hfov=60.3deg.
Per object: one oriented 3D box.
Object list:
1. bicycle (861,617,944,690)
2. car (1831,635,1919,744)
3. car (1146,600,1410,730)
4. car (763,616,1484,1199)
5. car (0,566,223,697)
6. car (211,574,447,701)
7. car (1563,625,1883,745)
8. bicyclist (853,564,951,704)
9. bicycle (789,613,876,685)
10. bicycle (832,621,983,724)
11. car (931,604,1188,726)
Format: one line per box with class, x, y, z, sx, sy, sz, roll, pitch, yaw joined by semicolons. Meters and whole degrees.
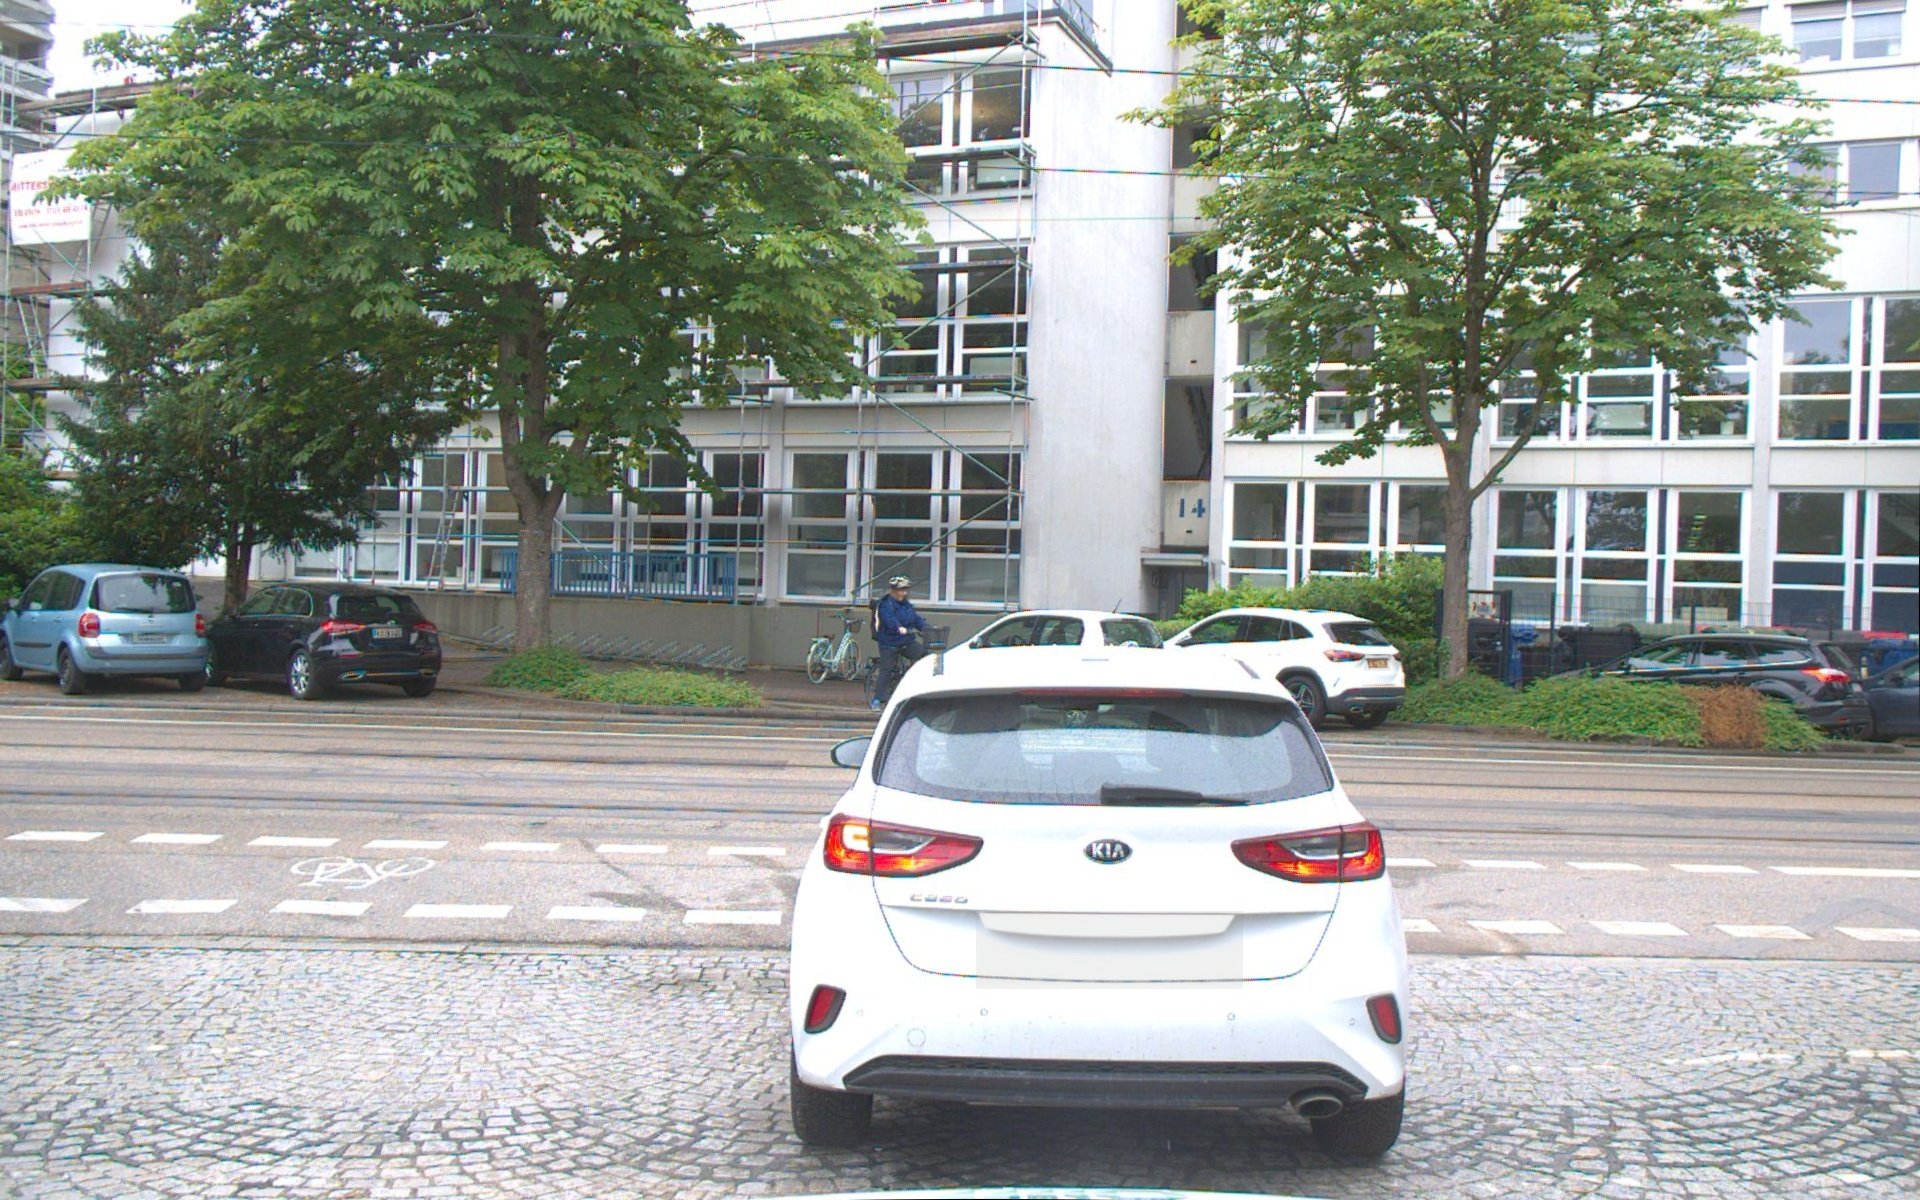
bicycle;-0.968;0.891;28.445;0.631;1.093;2.313;2;2;19
car;14.280;1.277;23.278;3.331;1.499;1.407;1;0;43
car;4.389;0.858;23.120;1.545;1.646;3.352;1;0;-44
car;0.478;0.827;6.018;1.738;1.458;3.979;1;-1;2
car;-11.171;0.367;21.643;3.279;1.564;1.608;1;0;43
car;-8.337;0.452;21.748;3.279;1.537;1.608;1;0;43
car;10.876;1.157;23.703;3.881;1.499;1.665;1;0;40
bicyclist;-0.736;0.419;21.030;0.882;1.727;0.828;1;0;44
bicycle;-2.202;0.831;28.896;0.631;1.093;2.313;2;2;19
bicycle;-0.686;0.893;20.974;1.883;1.194;0.816;2;0;44
car;1.307;0.835;22.579;1.545;1.499;3.352;1;0;-44
